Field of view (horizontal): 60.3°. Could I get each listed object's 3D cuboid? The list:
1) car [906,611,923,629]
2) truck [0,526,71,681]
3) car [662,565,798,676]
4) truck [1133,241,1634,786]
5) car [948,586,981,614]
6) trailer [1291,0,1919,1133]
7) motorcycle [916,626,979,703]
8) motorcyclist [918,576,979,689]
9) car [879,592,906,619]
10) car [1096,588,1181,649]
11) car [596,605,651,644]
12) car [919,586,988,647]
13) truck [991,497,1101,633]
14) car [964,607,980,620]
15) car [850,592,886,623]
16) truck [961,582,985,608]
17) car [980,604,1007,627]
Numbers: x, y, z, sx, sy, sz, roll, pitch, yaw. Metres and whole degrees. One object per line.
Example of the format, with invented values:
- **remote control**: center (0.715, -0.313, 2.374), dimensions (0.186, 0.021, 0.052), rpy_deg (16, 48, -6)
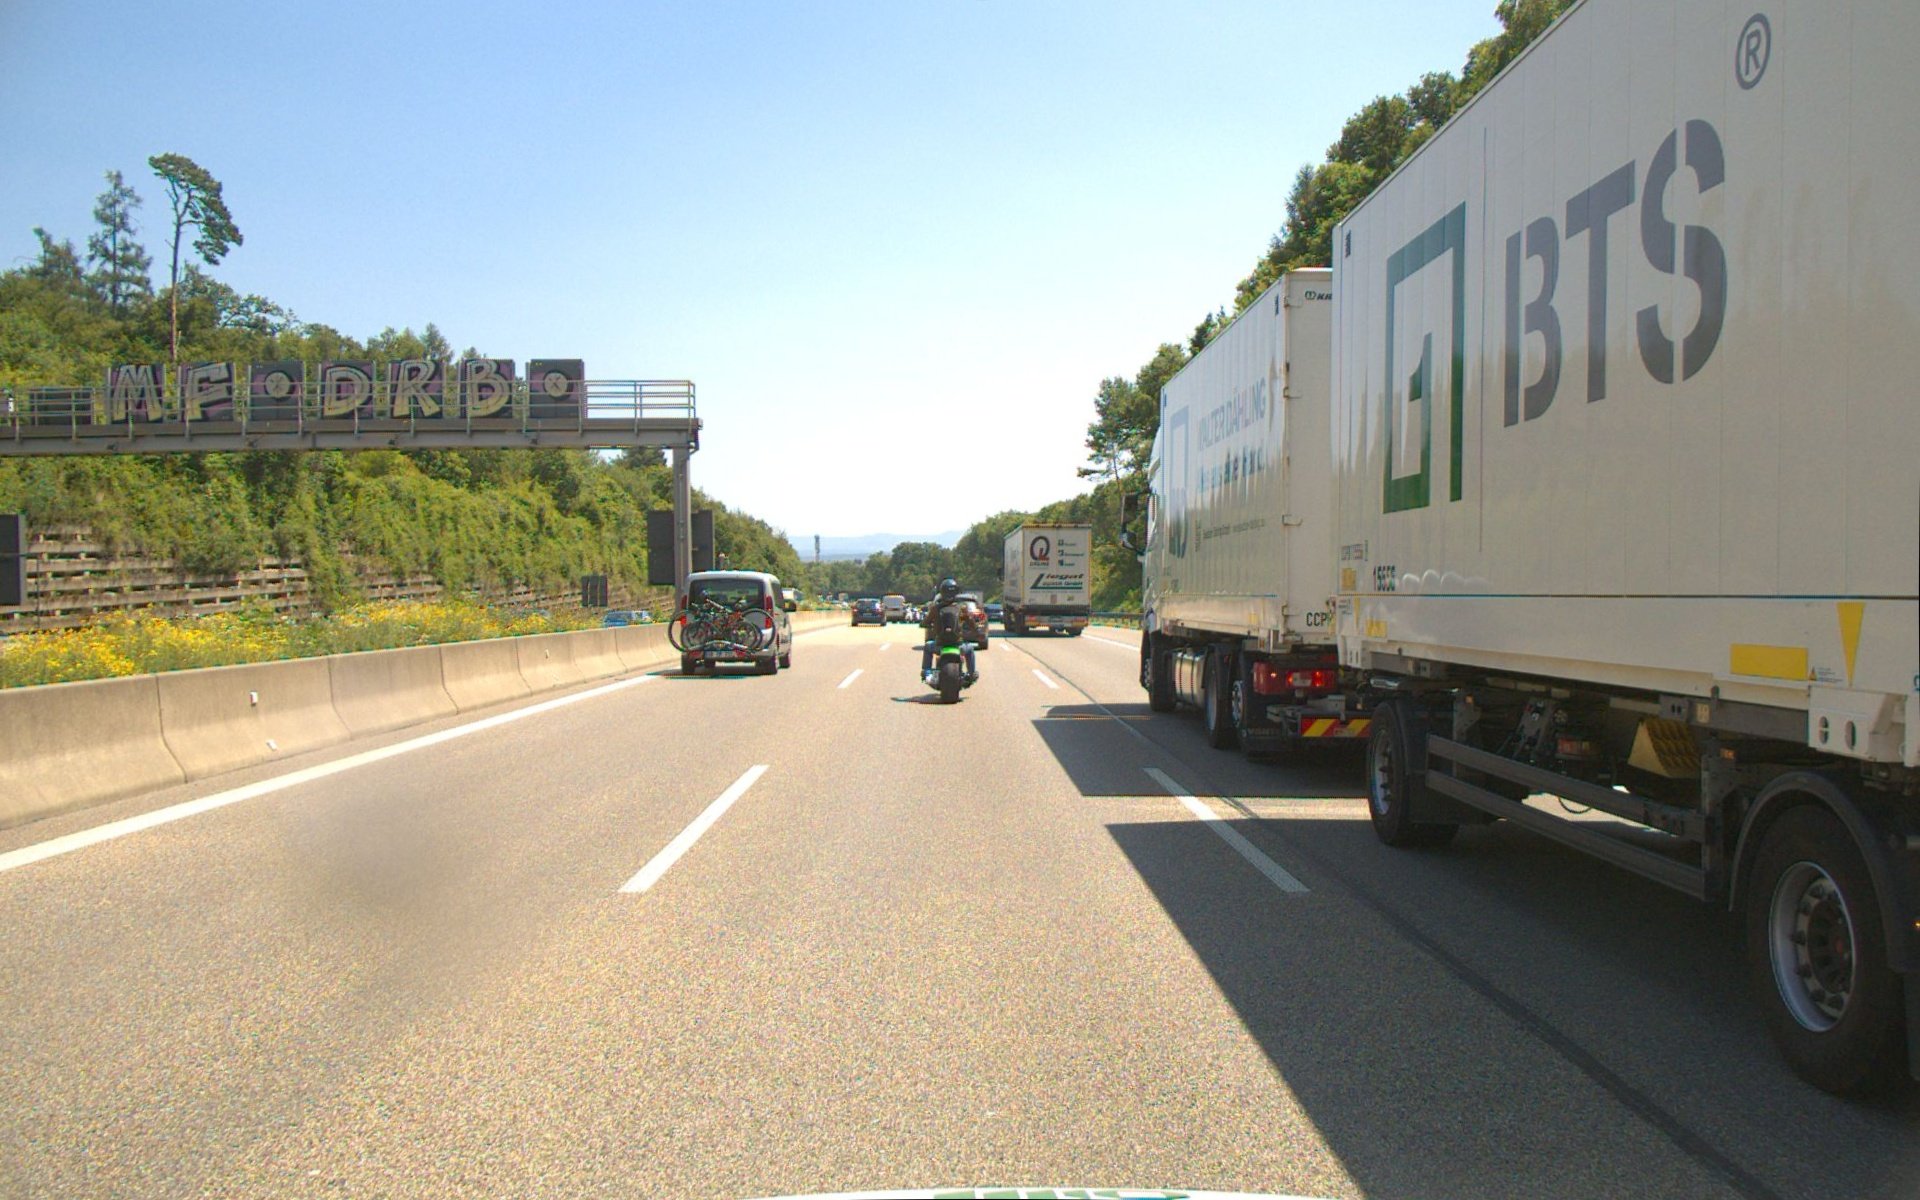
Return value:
- **car**: center (-4.940, 2.182, 180.606), dimensions (1.794, 1.842, 4.119), rpy_deg (0, 1, -1)
- **truck**: center (-20.199, 0.116, 31.688), dimensions (2.527, 3.045, 7.061), rpy_deg (-2, 1, -1)
- **car**: center (-4.206, 0.362, 31.067), dimensions (1.859, 1.880, 5.482), rpy_deg (0, 0, -1)
- **truck**: center (3.776, -0.687, 17.888), dimensions (2.625, 4.130, 10.624), rpy_deg (0, 0, 0)
- **car**: center (0.247, -0.011, 94.982), dimensions (1.794, 1.585, 4.119), rpy_deg (0, 1, -1)
- **trailer**: center (3.908, -0.672, 7.484), dimensions (2.625, 4.249, 10.063), rpy_deg (0, 0, -1)
- **motorcycle**: center (-0.160, 0.880, 23.277), dimensions (0.844, 0.999, 2.130), rpy_deg (0, 0, 0)
- **motorcyclist**: center (-0.161, 0.449, 23.141), dimensions (0.838, 1.541, 0.914), rpy_deg (0, 0, 0)
- **car**: center (-4.786, 0.364, 117.813), dimensions (1.794, 1.842, 4.119), rpy_deg (0, 1, -1)
- **car**: center (4.930, 0.464, 46.154), dimensions (1.808, 1.584, 4.391), rpy_deg (0, 1, -1)
- **car**: center (-15.354, 1.087, 75.708), dimensions (1.673, 1.633, 4.198), rpy_deg (-2, 1, -1)
- **car**: center (-0.204, 0.427, 45.990), dimensions (1.808, 1.584, 4.438), rpy_deg (0, 1, -1)
- **truck**: center (3.251, -1.302, 68.078), dimensions (3.314, 4.800, 17.706), rpy_deg (1, 0, -1)
- **car**: center (1.475, 1.600, 199.354), dimensions (1.794, 1.553, 4.026), rpy_deg (0, 1, -1)
- **car**: center (-4.943, 0.398, 89.338), dimensions (1.722, 1.570, 4.394), rpy_deg (0, 1, -1)
- **truck**: center (1.769, -0.666, 223.470), dimensions (3.005, 3.405, 9.650), rpy_deg (1, 0, -1)
- **car**: center (2.430, 1.126, 121.315), dimensions (1.794, 1.553, 4.026), rpy_deg (0, 1, -1)
